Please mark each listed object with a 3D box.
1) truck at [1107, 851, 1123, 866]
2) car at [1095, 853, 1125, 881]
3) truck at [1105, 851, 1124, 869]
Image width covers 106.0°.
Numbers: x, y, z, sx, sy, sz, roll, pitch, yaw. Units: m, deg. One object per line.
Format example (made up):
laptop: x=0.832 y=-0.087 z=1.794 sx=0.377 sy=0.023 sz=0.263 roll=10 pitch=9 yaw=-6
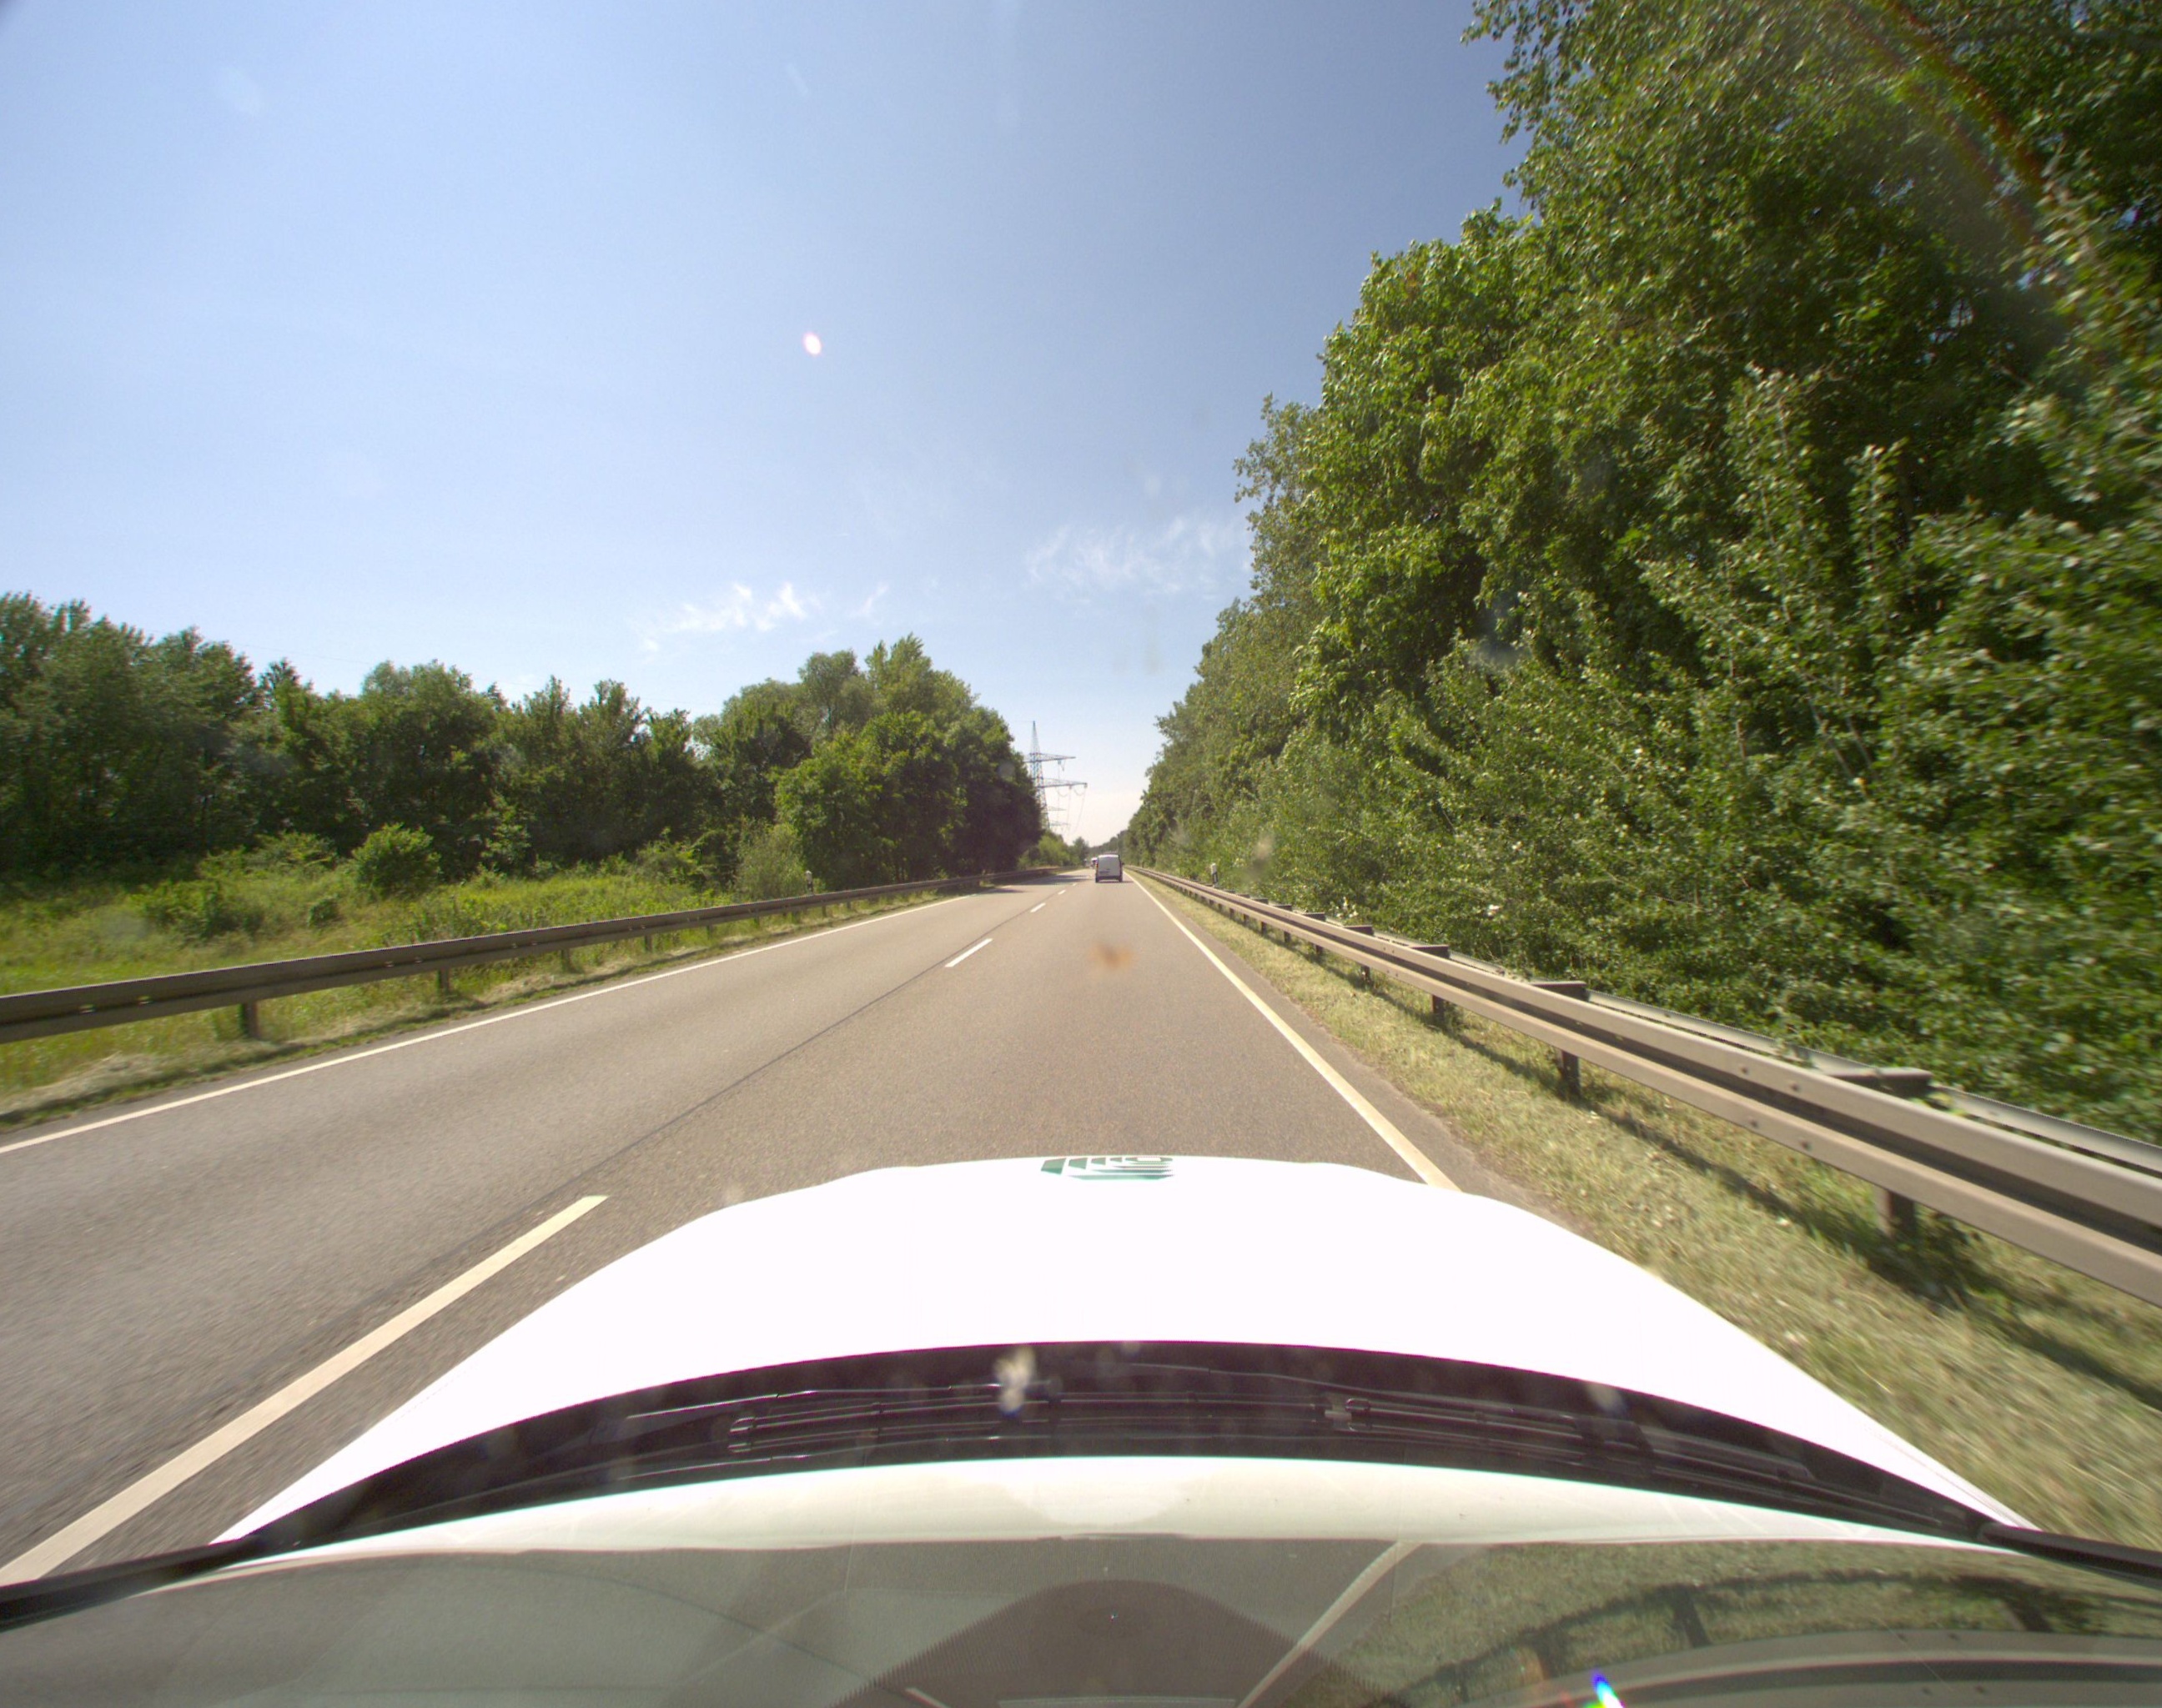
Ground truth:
truck: x=9.043 y=1.214 z=218.339 sx=3.391 sy=3.854 sz=16.814 roll=-1 pitch=0 yaw=0
car: x=1.886 y=0.790 z=53.467 sx=1.868 sy=1.741 sz=4.002 roll=-1 pitch=0 yaw=2
truck: x=6.154 y=1.020 z=149.869 sx=3.284 sy=3.172 sz=14.411 roll=-1 pitch=0 yaw=2
